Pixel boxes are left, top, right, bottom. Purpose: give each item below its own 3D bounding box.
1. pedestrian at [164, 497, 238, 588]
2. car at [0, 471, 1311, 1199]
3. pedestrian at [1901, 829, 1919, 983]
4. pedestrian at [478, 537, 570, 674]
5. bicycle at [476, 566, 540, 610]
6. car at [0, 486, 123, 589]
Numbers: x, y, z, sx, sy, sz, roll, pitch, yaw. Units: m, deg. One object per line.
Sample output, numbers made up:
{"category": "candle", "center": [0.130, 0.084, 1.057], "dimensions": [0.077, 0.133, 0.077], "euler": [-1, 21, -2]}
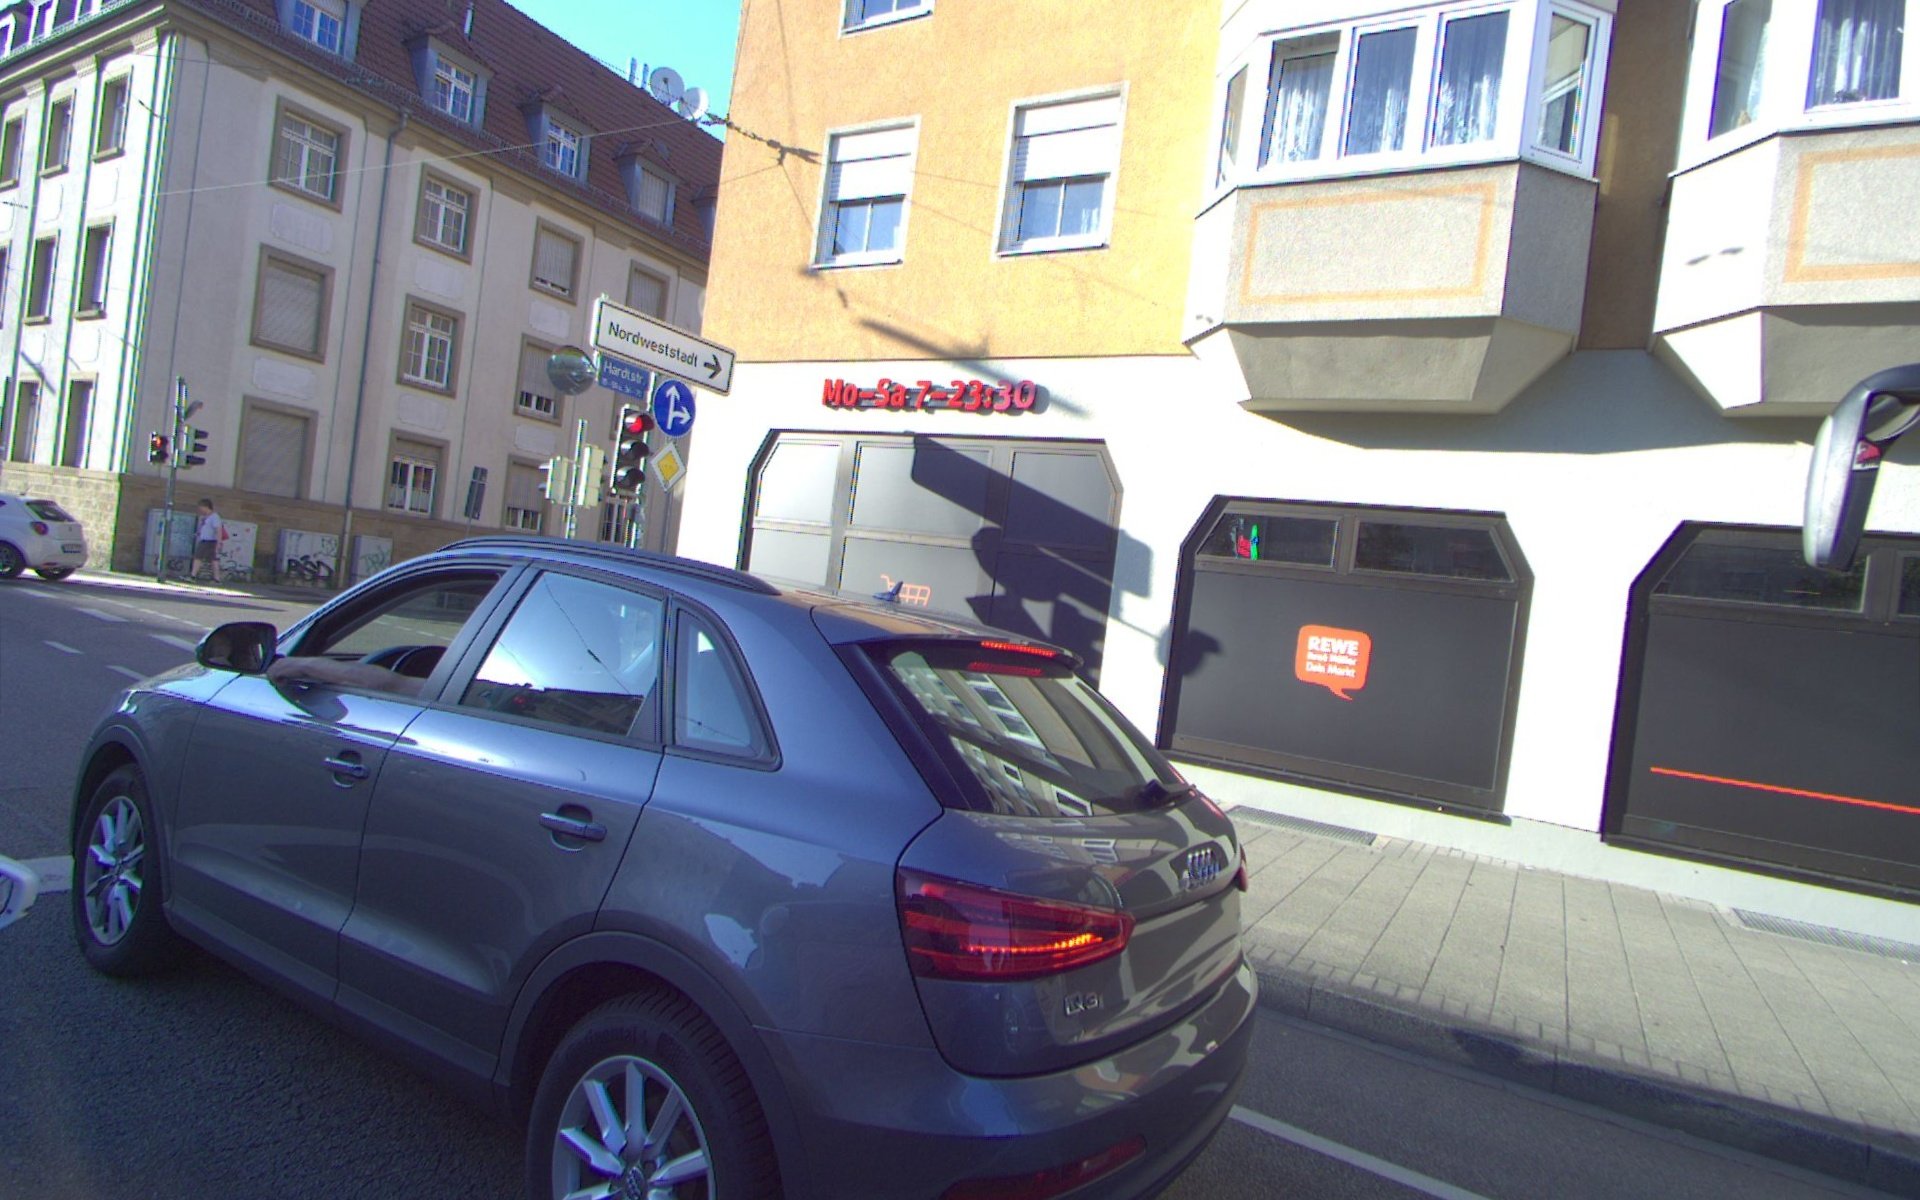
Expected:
{"category": "pedestrian", "center": [-16.123, -1.213, 21.380], "dimensions": [0.810, 1.783, 0.837], "euler": [6, -1, 31]}
{"category": "car", "center": [-1.267, 0.608, 3.280], "dimensions": [4.155, 1.571, 1.701], "euler": [7, -1, 32]}
{"category": "pedestrian", "center": [5.963, 1.466, 5.689], "dimensions": [0.657, 1.603, 0.580], "euler": [7, 1, 29]}
{"category": "pedestrian", "center": [-6.076, 0.082, 14.029], "dimensions": [0.812, 1.778, 0.630], "euler": [6, -1, 32]}
{"category": "bicycle", "center": [-12.519, -0.327, 27.896], "dimensions": [1.499, 1.029, 0.247], "euler": [9, -2, -43]}
{"category": "car", "center": [-17.256, -1.255, 17.183], "dimensions": [3.943, 1.582, 1.993], "euler": [8, -2, -19]}
